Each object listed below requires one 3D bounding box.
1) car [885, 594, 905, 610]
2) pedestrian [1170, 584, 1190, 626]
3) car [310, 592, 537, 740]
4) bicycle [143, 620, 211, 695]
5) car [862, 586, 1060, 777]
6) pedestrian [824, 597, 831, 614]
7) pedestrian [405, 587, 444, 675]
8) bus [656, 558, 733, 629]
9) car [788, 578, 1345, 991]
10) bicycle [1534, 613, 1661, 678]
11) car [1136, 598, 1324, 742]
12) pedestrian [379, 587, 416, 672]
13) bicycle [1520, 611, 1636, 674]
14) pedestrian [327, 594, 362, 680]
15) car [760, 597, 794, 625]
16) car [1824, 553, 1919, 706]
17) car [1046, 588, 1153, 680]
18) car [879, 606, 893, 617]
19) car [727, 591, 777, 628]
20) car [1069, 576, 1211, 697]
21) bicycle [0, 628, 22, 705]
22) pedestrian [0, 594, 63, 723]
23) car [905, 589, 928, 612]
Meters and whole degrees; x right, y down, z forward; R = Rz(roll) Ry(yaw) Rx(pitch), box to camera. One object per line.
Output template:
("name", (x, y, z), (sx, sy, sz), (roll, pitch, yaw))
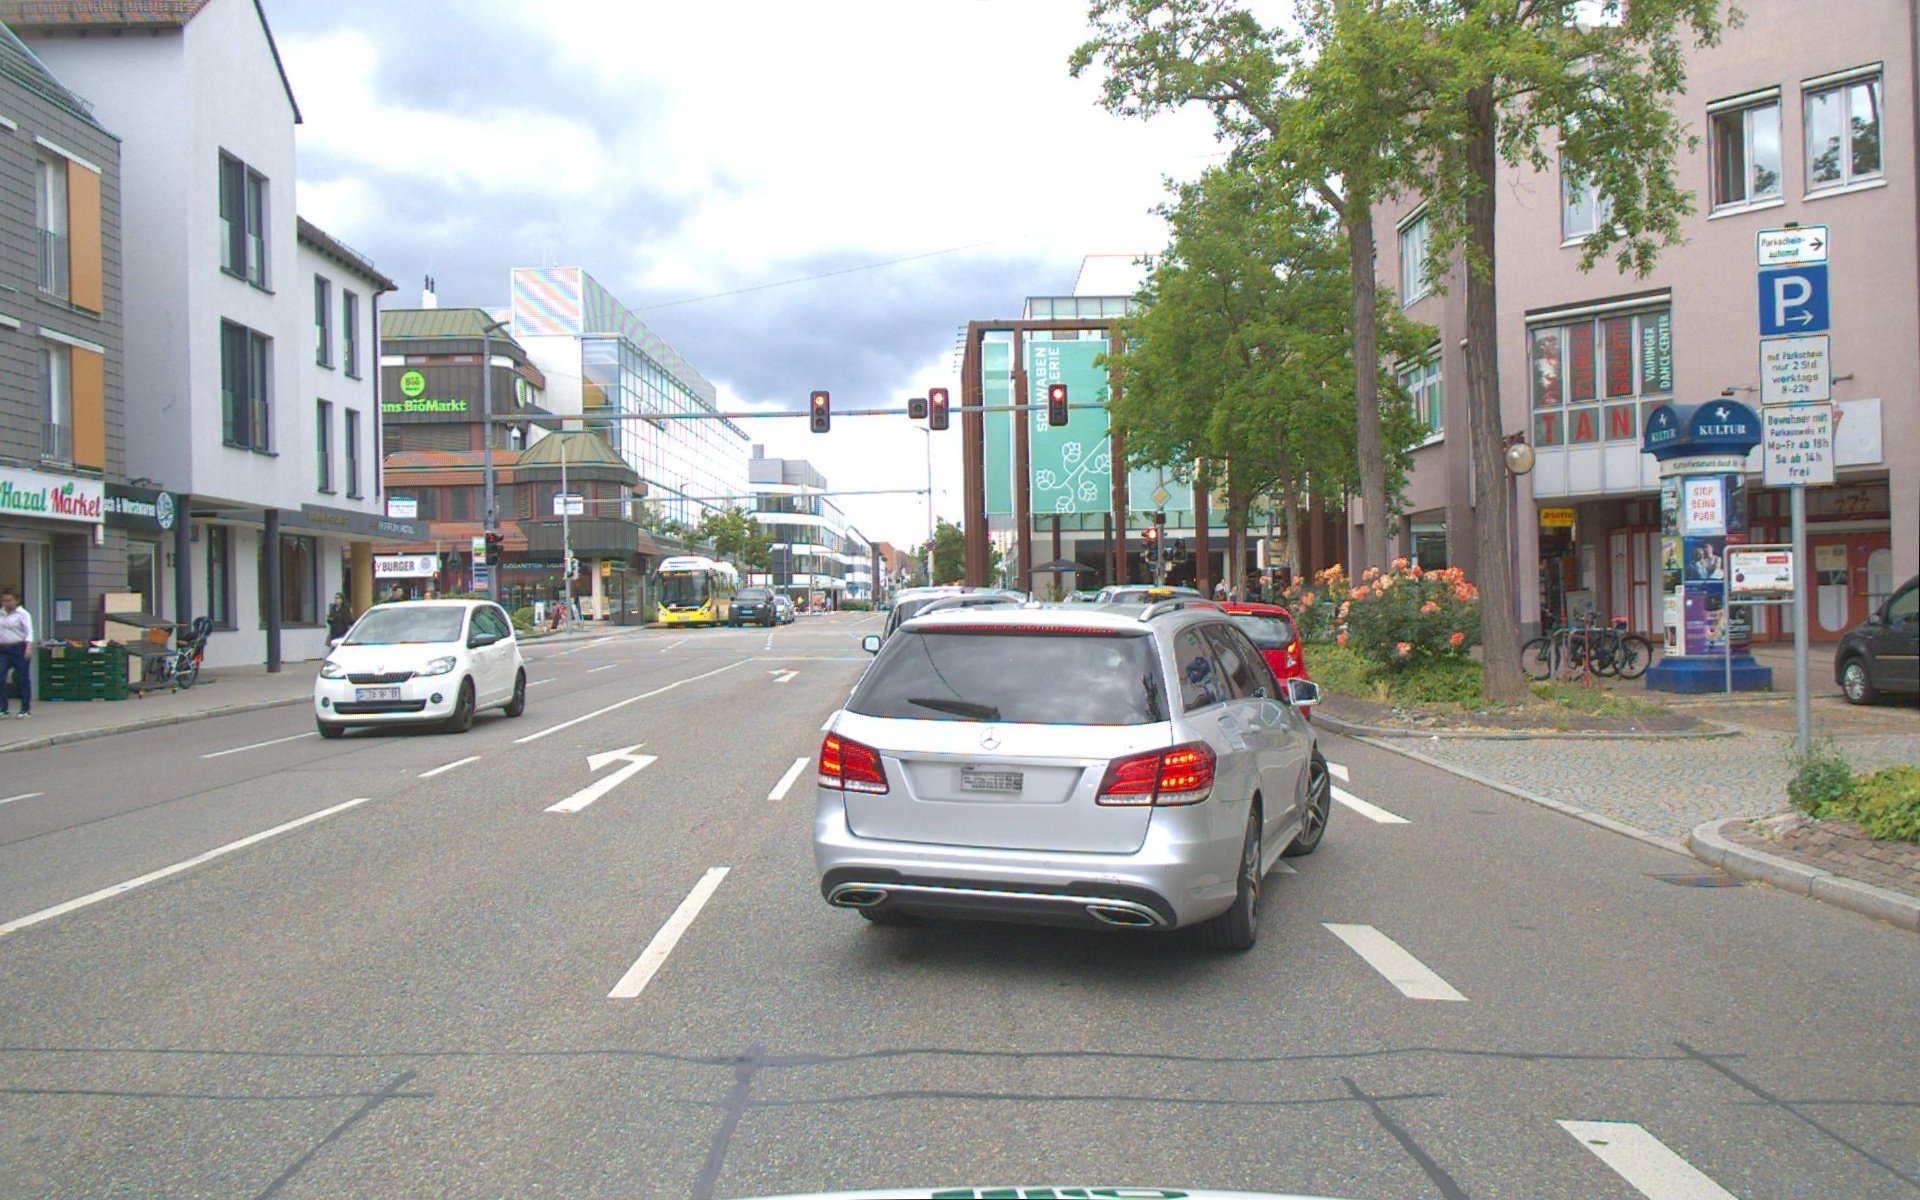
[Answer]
("car", (-6.436, 0.195, 164.190), (1.764, 1.567, 4.065), (-1, 0, 1))
("pedestrian", (8.985, 0.210, 67.501), (0.641, 1.679, 0.557), (-1, 0, -15))
("car", (-6.117, 0.693, 19.228), (1.542, 1.514, 3.463), (-2, 0, -1))
("bicycle", (-13.404, 0.963, 28.357), (0.378, 1.207, 1.824), (-1, 0, -4))
("car", (-0.013, 0.658, 15.157), (1.606, 1.554, 3.393), (0, 0, -1))
("pedestrian", (-13.114, 0.543, 163.666), (0.508, 1.764, 0.489), (-1, 0, 8))
("pedestrian", (-11.261, 0.638, 34.790), (0.669, 1.821, 0.647), (-1, 0, -11))
("bus", (-13.038, -0.325, 81.882), (2.632, 3.318, 8.650), (-1, 0, -2))
("car", (0.842, 0.679, 8.352), (1.777, 1.474, 4.371), (1, 0, 18))
("bicycle", (10.351, 0.739, 26.896), (1.861, 1.014, 0.468), (-1, 0, 3))
("car", (2.994, 0.725, 18.894), (1.554, 1.468, 3.348), (1, 0, -1))
("pedestrian", (-12.032, 0.624, 35.362), (0.557, 1.806, 0.646), (-1, 0, -2))
("bicycle", (10.247, 0.701, 27.449), (1.731, 1.014, 0.447), (-1, 0, 3))
("pedestrian", (-12.333, 0.731, 33.140), (0.642, 1.679, 0.556), (-1, 0, -21))
("car", (-9.591, 0.565, 86.754), (1.524, 1.417, 3.286), (-1, 0, -2))
("car", (12.437, 0.335, 20.022), (1.605, 1.863, 3.963), (-2, 0, -5))
("car", (2.603, 0.606, 31.598), (1.555, 1.623, 3.866), (1, 0, -2))
("car", (-10.671, 1.657, 237.515), (1.764, 1.567, 4.065), (-1, 0, 1))
("car", (-9.952, 0.433, 79.363), (1.953, 1.736, 4.063), (-1, 0, -2))
("car", (2.634, 0.507, 24.989), (1.555, 1.662, 3.915), (1, 0, -2))
("bicycle", (-14.879, 1.025, 25.777), (0.382, 1.147, 1.278), (-1, 0, -27))
("pedestrian", (-12.240, 0.745, 21.504), (0.713, 1.638, 0.753), (-1, 0, -1))
("car", (-3.833, 0.034, 144.079), (1.953, 1.983, 4.949), (-1, 0, -2))
